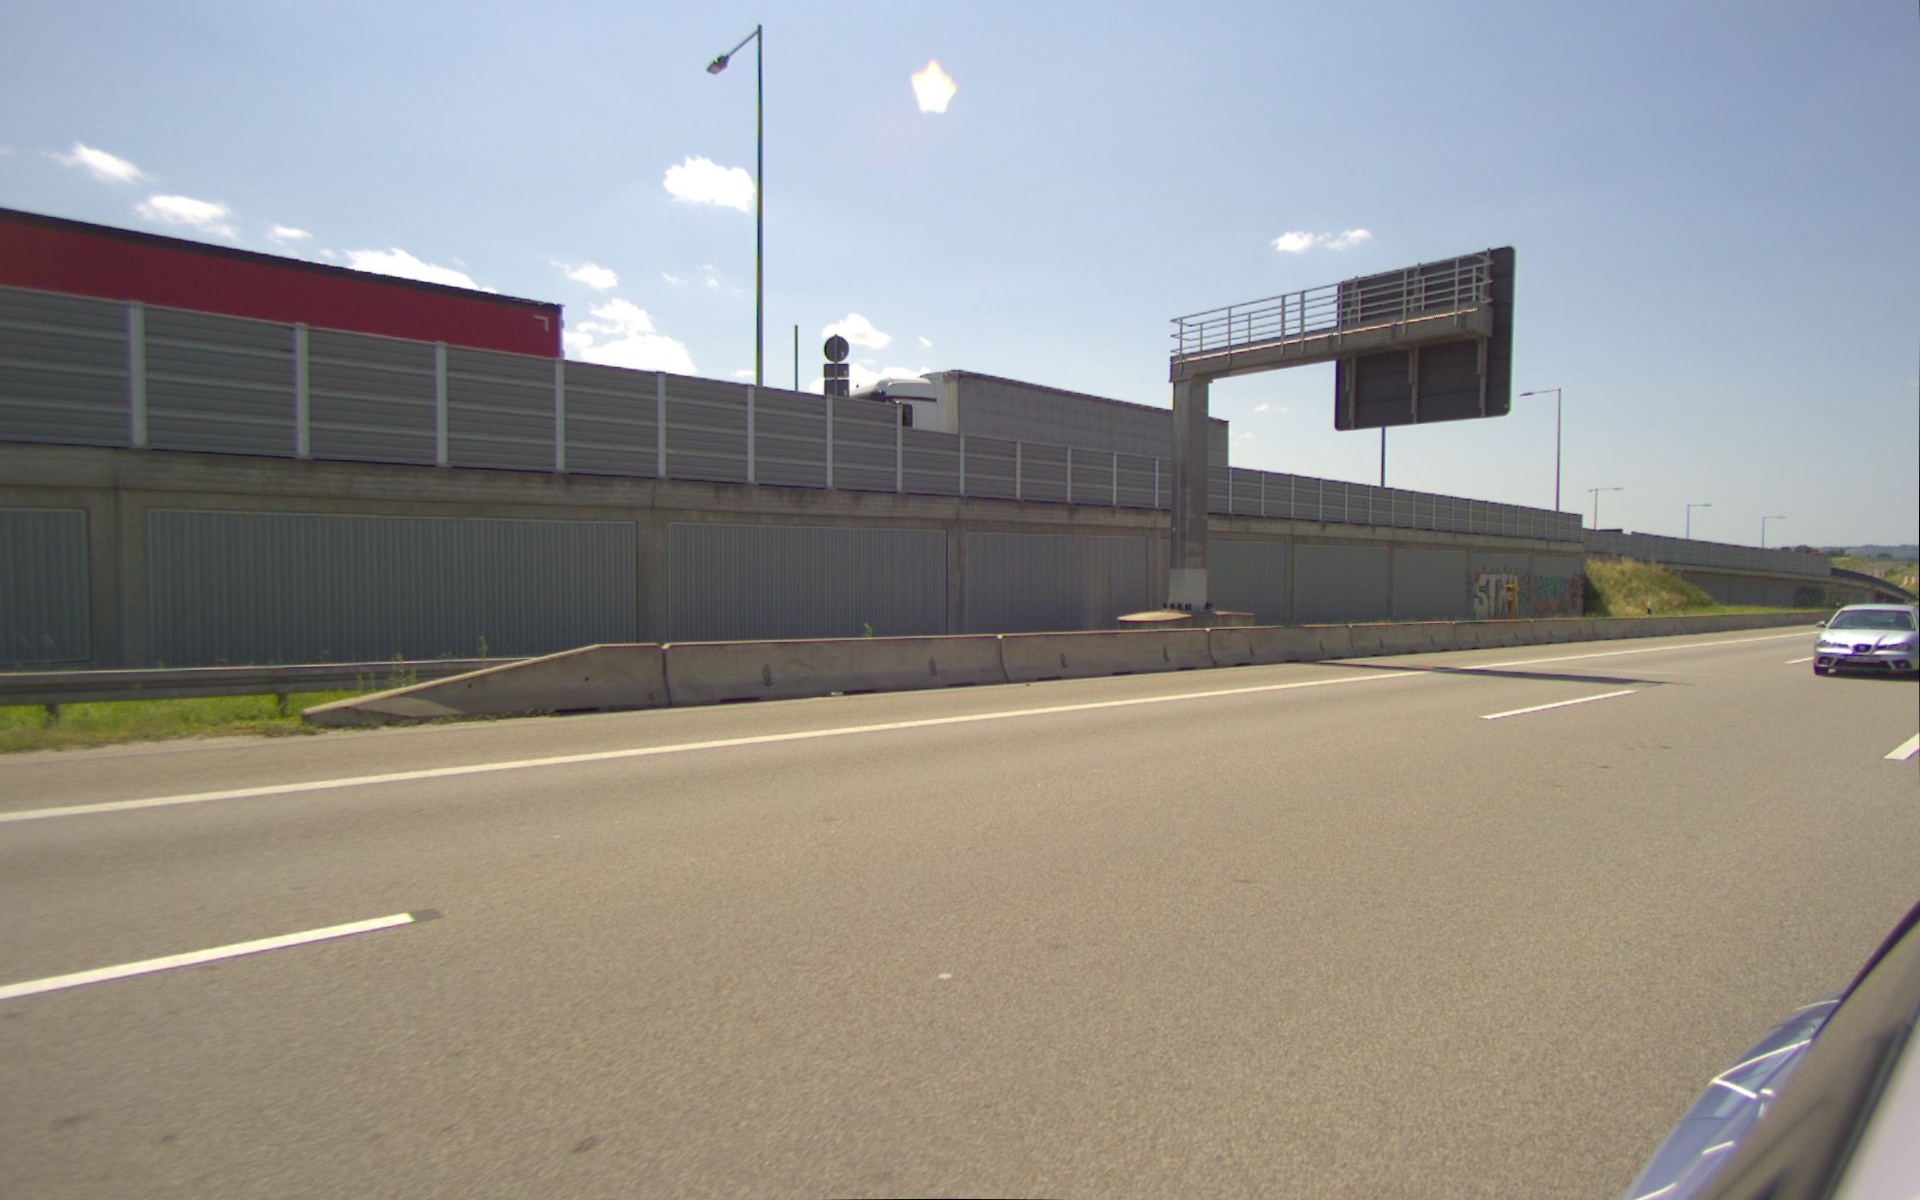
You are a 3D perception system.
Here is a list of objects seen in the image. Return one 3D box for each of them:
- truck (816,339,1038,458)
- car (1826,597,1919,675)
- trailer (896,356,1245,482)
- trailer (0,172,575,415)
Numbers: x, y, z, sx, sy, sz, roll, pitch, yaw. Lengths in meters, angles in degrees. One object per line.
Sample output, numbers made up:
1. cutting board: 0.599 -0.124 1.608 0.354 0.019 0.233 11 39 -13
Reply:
1. truck: -0.824 -5.521 28.655 5.933 2.258 2.727 -1 0 -42
2. car: 18.948 0.656 20.514 3.931 1.407 1.633 -1 1 -42
3. trailer: 4.296 -5.595 33.344 14.281 2.252 2.723 -1 1 -42
4. trailer: -13.801 -5.162 16.909 13.782 2.252 2.723 -1 1 -42
